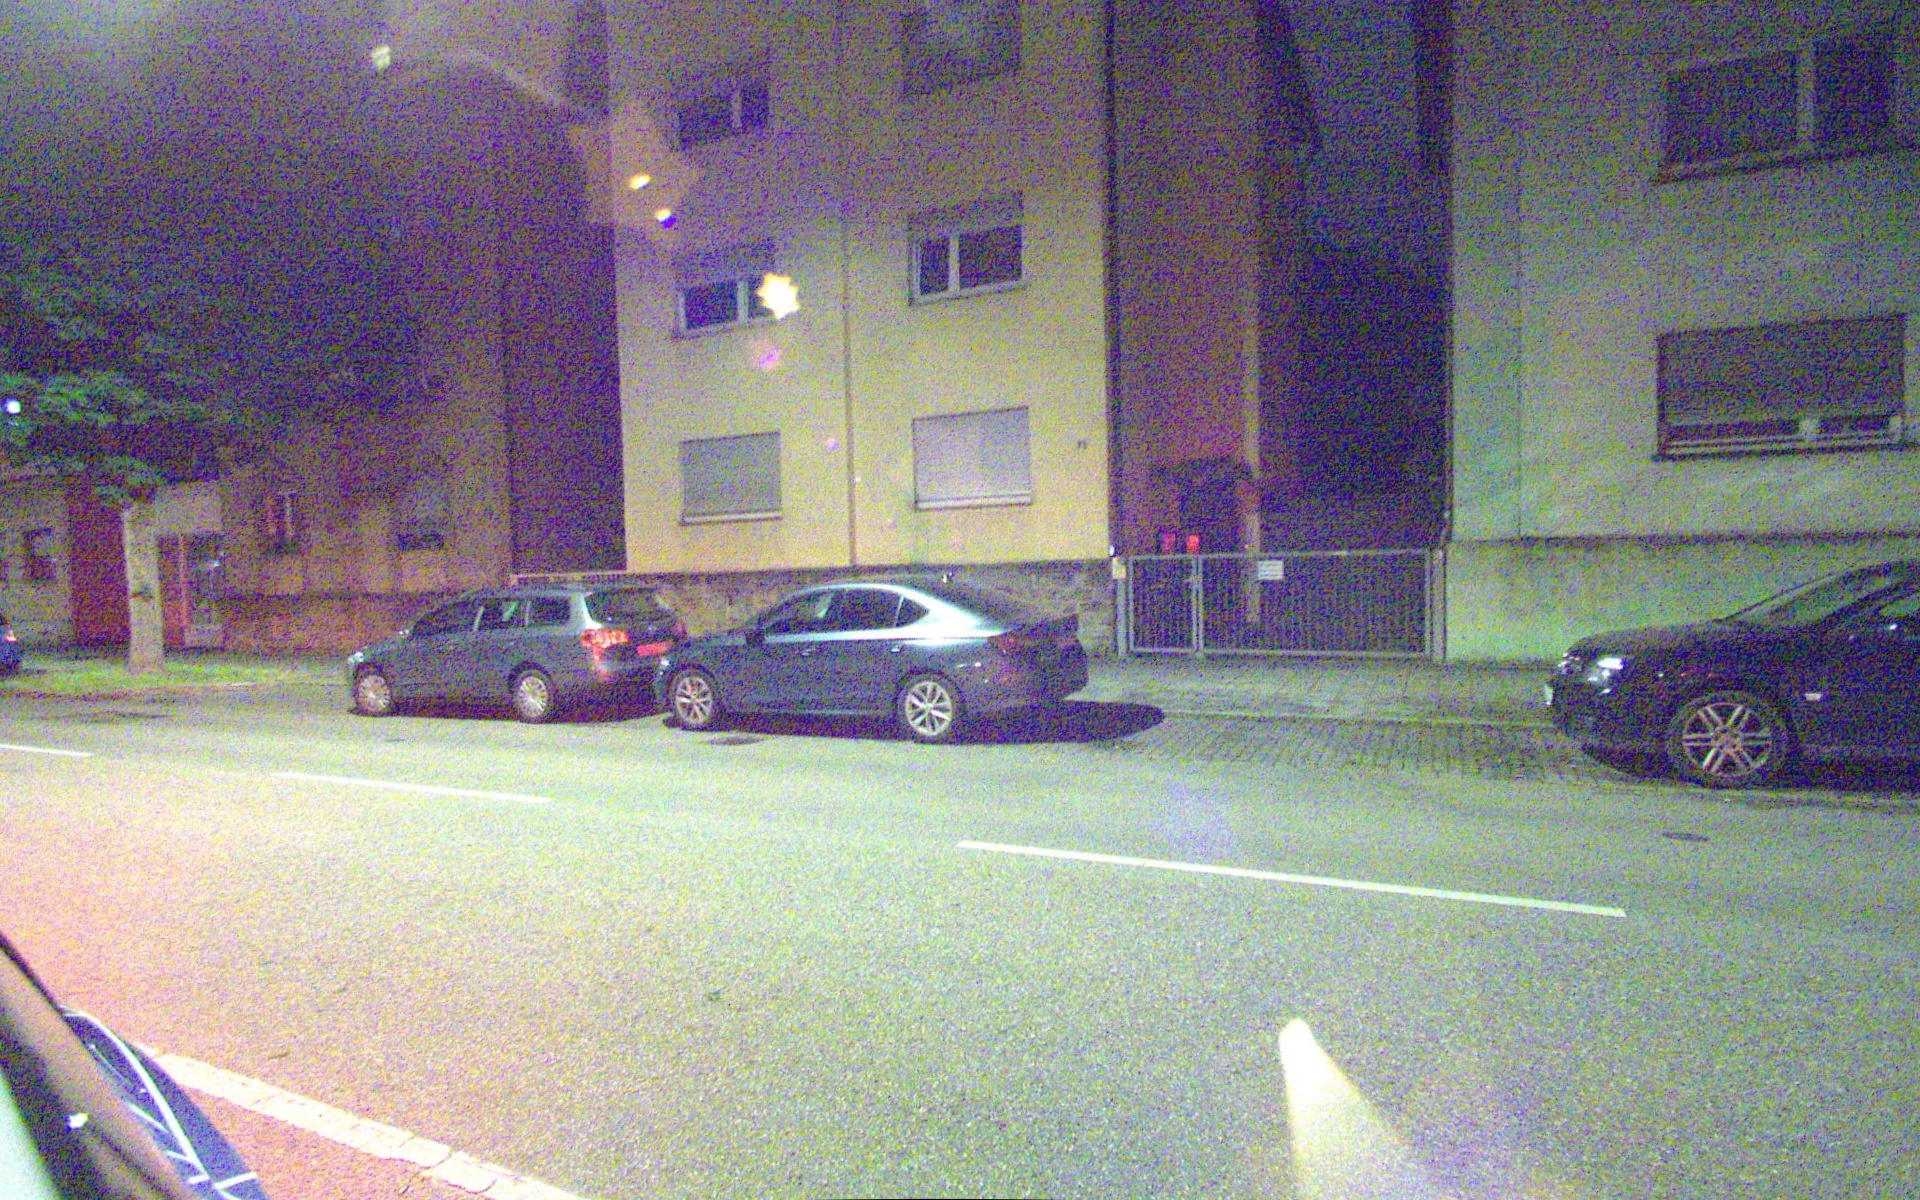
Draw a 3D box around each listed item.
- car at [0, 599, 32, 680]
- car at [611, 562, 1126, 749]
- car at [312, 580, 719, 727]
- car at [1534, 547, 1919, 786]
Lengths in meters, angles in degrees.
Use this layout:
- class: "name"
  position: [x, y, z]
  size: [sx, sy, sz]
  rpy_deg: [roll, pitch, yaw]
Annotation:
- class: "car"
  position: [-20.045, 0.809, 19.577]
  size: [3.968, 1.505, 1.705]
  rpy_deg: [-1, 2, 26]
- class: "car"
  position: [-0.964, 0.454, 9.954]
  size: [4.837, 1.497, 1.759]
  rpy_deg: [-1, 1, 26]
- class: "car"
  position: [-5.356, 0.561, 12.110]
  size: [4.739, 1.497, 1.759]
  rpy_deg: [-1, 1, 25]
- class: "car"
  position: [6.313, 0.365, 6.457]
  size: [4.424, 1.393, 1.615]
  rpy_deg: [-1, 1, 24]
